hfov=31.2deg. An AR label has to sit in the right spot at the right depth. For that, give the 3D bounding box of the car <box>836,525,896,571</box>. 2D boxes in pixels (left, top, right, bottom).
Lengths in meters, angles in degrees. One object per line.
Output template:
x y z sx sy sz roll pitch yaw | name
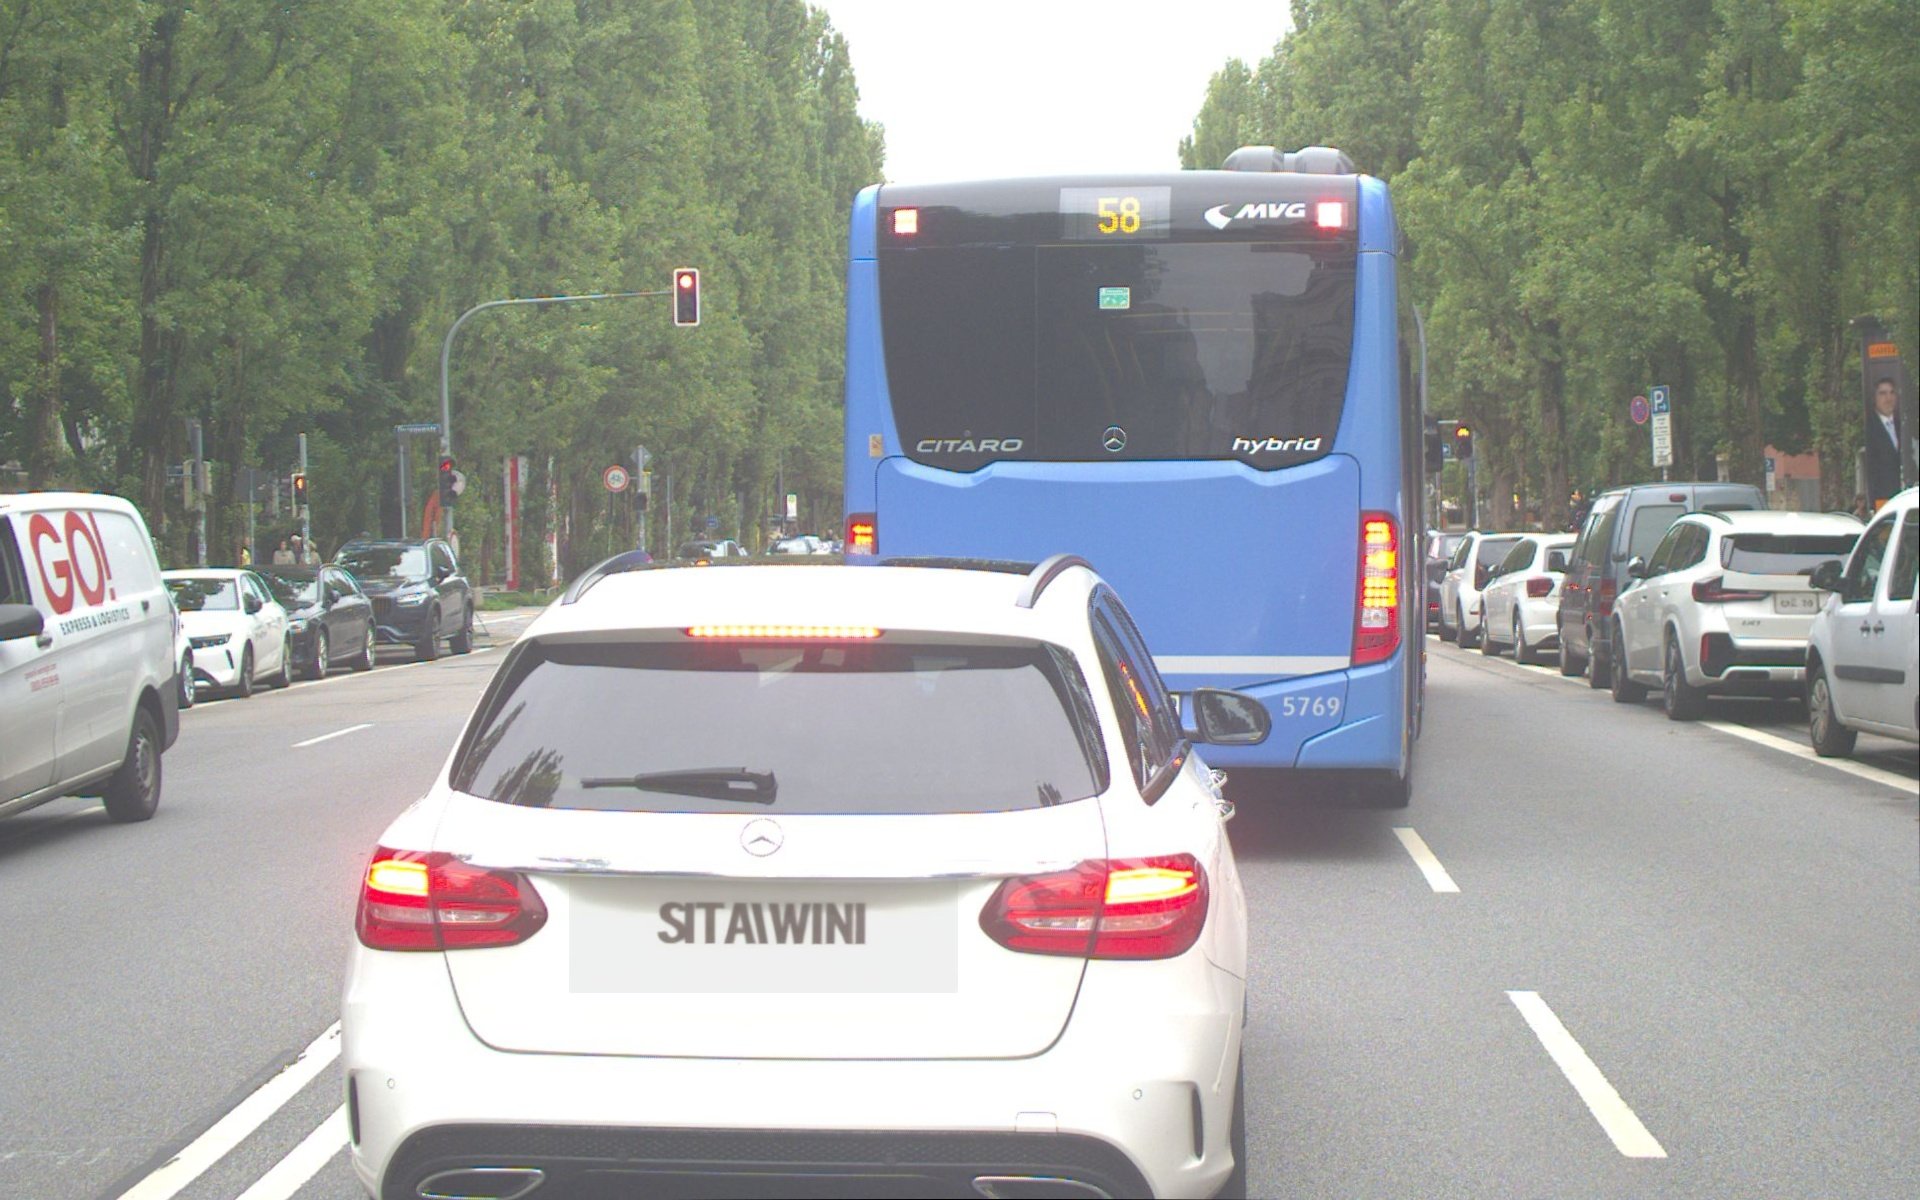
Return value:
-3.160 -1.787 116.537 1.821 1.481 4.000 -1 1 1 | car

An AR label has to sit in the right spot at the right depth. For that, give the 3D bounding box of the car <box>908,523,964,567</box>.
-0.890 -2.077 129.879 1.993 1.613 4.000 -1 1 1 | car

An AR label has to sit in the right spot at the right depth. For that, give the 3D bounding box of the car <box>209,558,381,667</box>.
-8.523 0.132 44.332 1.289 1.269 3.849 -1 1 3 | car

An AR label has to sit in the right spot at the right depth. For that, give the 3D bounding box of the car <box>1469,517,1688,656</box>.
6.959 -0.194 39.036 1.798 1.470 4.000 -1 1 1 | car

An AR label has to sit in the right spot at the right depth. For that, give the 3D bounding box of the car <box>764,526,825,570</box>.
-5.727 -1.815 119.340 1.821 1.481 4.000 -1 1 1 | car

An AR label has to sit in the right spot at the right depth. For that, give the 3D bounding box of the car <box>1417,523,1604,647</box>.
7.022 -0.231 44.181 1.785 1.486 4.000 -1 1 1 | car

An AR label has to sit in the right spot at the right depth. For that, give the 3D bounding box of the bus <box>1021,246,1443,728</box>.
2.510 -0.885 28.629 2.873 3.292 9.787 -1 1 8 | bus

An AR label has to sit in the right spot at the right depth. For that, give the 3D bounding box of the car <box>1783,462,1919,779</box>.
6.289 0.103 20.345 1.833 1.767 4.230 1 1 1 | car

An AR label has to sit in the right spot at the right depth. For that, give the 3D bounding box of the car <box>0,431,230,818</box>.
-5.724 0.133 18.217 2.183 1.885 5.696 -3 1 3 | car

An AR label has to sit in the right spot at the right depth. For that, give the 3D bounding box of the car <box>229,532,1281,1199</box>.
-0.201 0.565 8.222 1.826 1.449 4.582 0 1 4 | car

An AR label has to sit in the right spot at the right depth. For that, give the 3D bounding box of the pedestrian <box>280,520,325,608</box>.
-15.119 -0.836 79.092 0.830 2.007 0.778 -1 1 0 | pedestrian

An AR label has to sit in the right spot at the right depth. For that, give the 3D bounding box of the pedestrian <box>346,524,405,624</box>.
-10.382 -0.469 61.056 0.821 1.758 1.081 -1 1 0 | pedestrian

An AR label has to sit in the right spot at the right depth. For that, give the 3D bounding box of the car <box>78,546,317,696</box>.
-8.521 0.193 38.729 1.708 1.542 4.000 -2 1 1 | car

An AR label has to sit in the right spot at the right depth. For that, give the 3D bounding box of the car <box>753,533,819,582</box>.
-5.564 -1.375 110.446 1.821 1.481 4.000 -1 1 1 | car

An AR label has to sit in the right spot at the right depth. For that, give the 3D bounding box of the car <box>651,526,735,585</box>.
-7.046 -1.201 91.085 1.821 1.481 4.000 -1 1 1 | car

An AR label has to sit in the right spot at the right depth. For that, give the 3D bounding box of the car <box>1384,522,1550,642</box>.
7.224 -0.286 49.340 1.809 1.612 4.000 -1 1 1 | car

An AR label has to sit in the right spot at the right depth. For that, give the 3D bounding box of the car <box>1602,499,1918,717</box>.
6.305 0.005 27.491 1.677 1.590 4.087 1 1 2 | car

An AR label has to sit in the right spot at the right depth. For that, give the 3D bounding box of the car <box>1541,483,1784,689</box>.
6.619 -0.177 32.748 1.703 1.829 4.000 0 1 3 | car

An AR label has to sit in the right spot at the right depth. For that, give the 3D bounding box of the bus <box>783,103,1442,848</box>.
1.271 -0.642 19.465 2.856 3.202 9.057 0 1 8 | bus

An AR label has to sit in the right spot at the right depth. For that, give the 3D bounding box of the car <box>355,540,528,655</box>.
-7.478 -0.070 49.895 1.707 1.546 4.000 -1 1 3 | car

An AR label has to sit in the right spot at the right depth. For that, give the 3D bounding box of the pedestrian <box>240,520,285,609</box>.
-16.006 -0.824 78.930 0.830 2.007 0.778 -1 1 0 | pedestrian

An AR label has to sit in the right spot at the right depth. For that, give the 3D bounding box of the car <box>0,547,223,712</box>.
-8.634 0.262 34.865 1.410 1.546 3.444 -1 1 3 | car
